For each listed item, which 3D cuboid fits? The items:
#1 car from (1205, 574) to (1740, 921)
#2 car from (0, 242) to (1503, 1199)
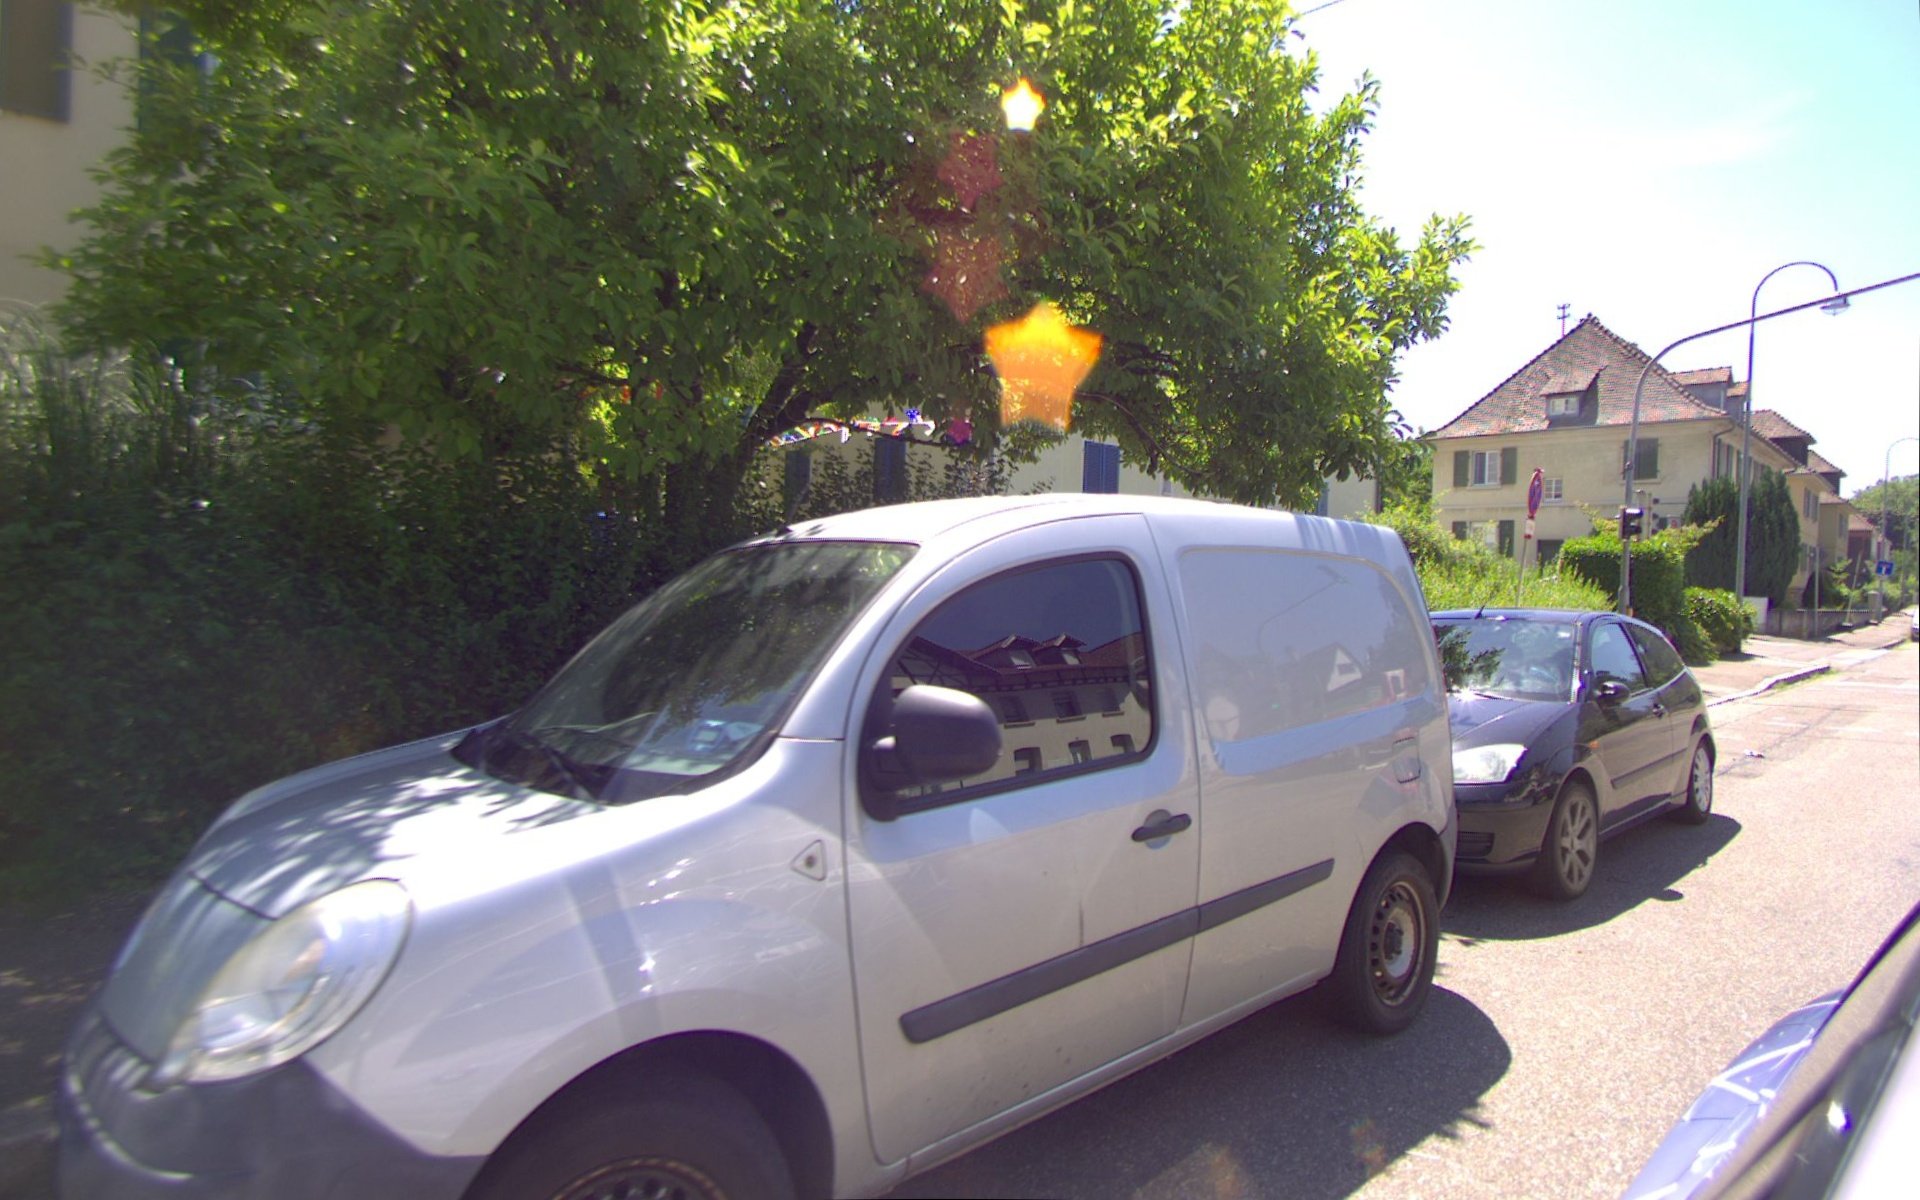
[{"bbox_3d":[3.360,0.632,6.276,3.947,1.482,1.631,0,-1,-42],"label":"car"},{"bbox_3d":[-0.107,0.498,3.083,4.128,1.826,1.665,0,-1,-40],"label":"car"}]
